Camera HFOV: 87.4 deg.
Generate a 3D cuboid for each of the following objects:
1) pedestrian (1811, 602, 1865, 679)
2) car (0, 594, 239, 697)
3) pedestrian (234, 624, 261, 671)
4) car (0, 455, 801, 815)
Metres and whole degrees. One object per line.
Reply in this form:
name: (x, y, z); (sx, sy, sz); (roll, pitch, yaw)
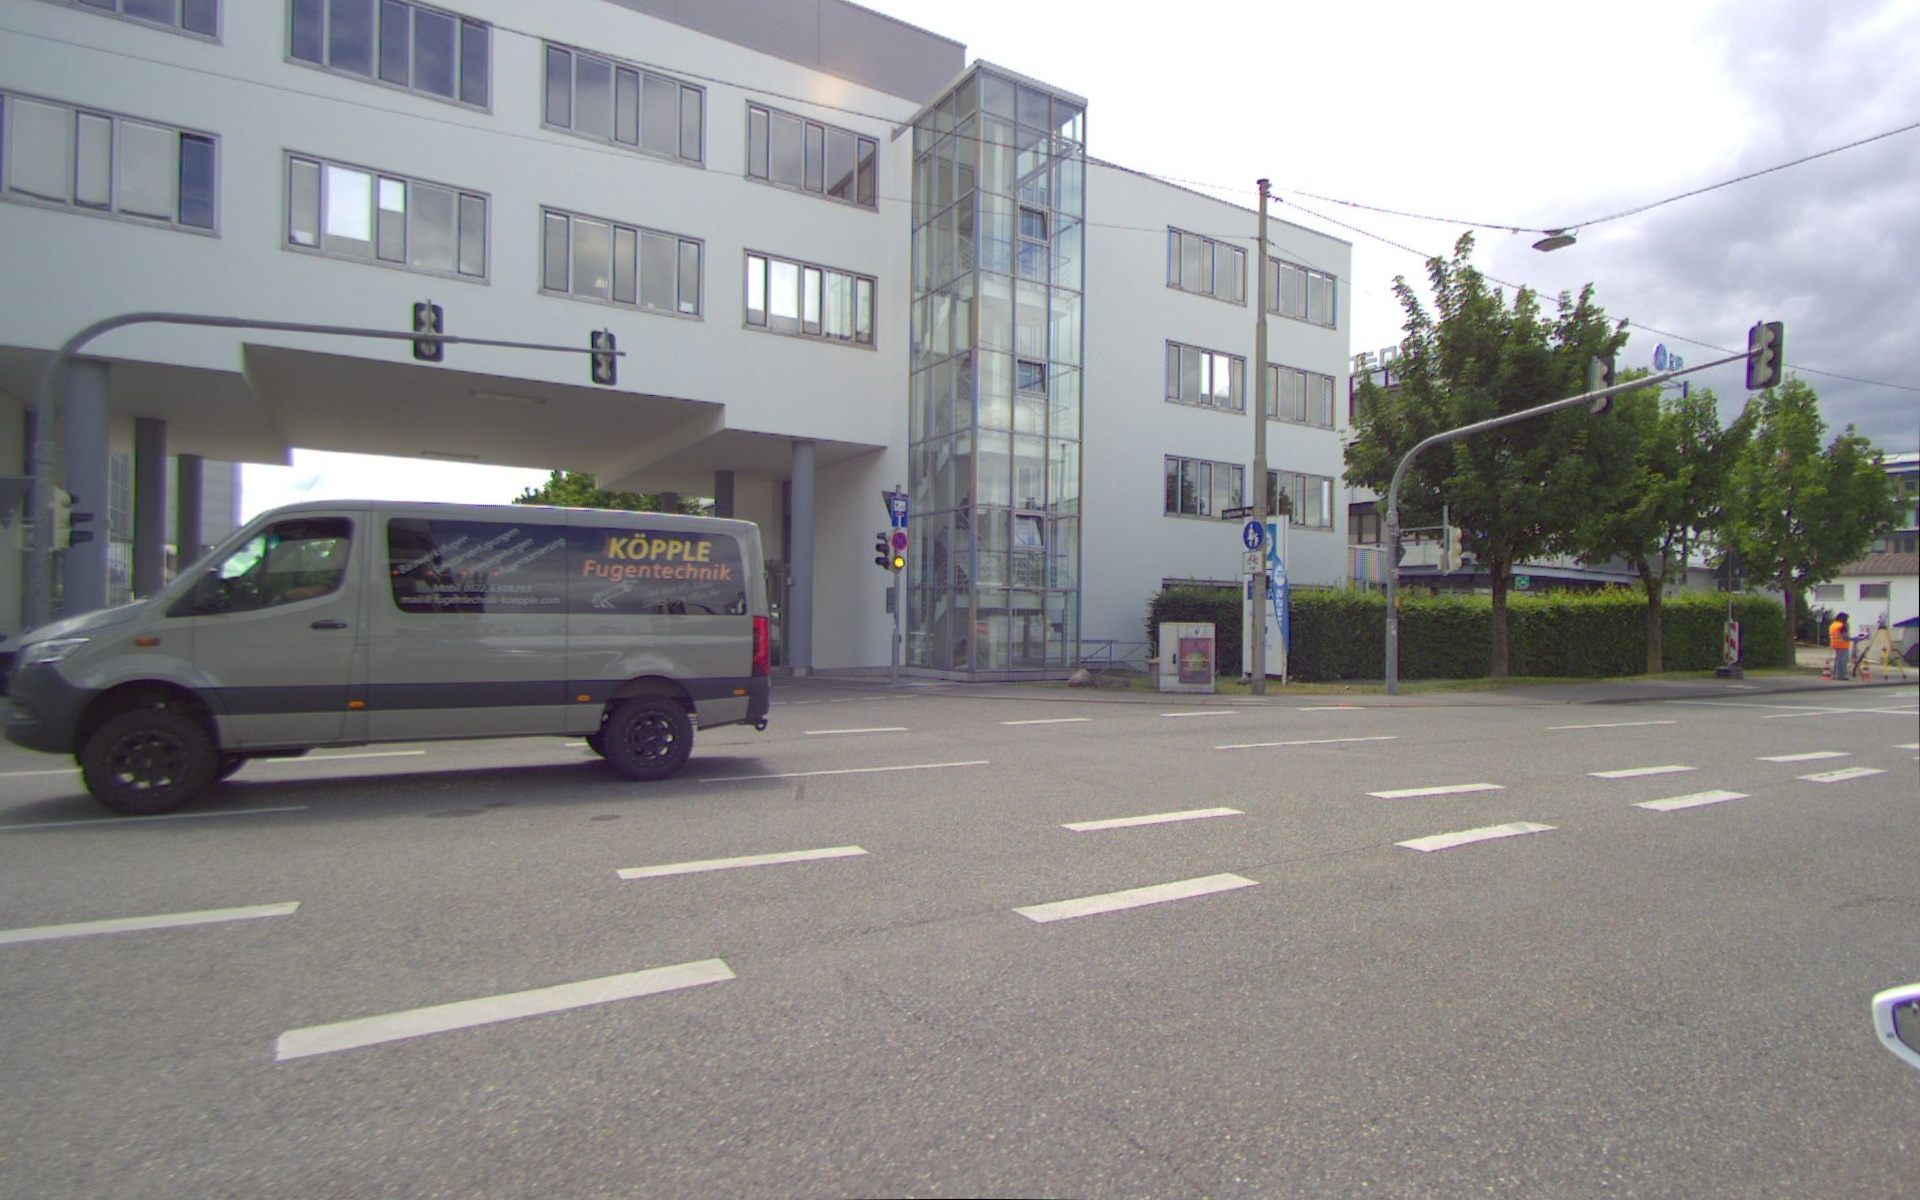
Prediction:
pedestrian: (24.149, 1.095, 27.633); (0.794, 2.040, 0.726); (2, 1, 13)
car: (-17.912, 0.994, 21.298); (2.046, 1.892, 4.832); (2, -4, -6)
pedestrian: (-27.828, 1.856, 39.251); (0.809, 1.806, 0.693); (2, 1, -35)
car: (-4.668, 0.340, 9.226); (5.995, 2.504, 2.135); (1, -3, -27)
